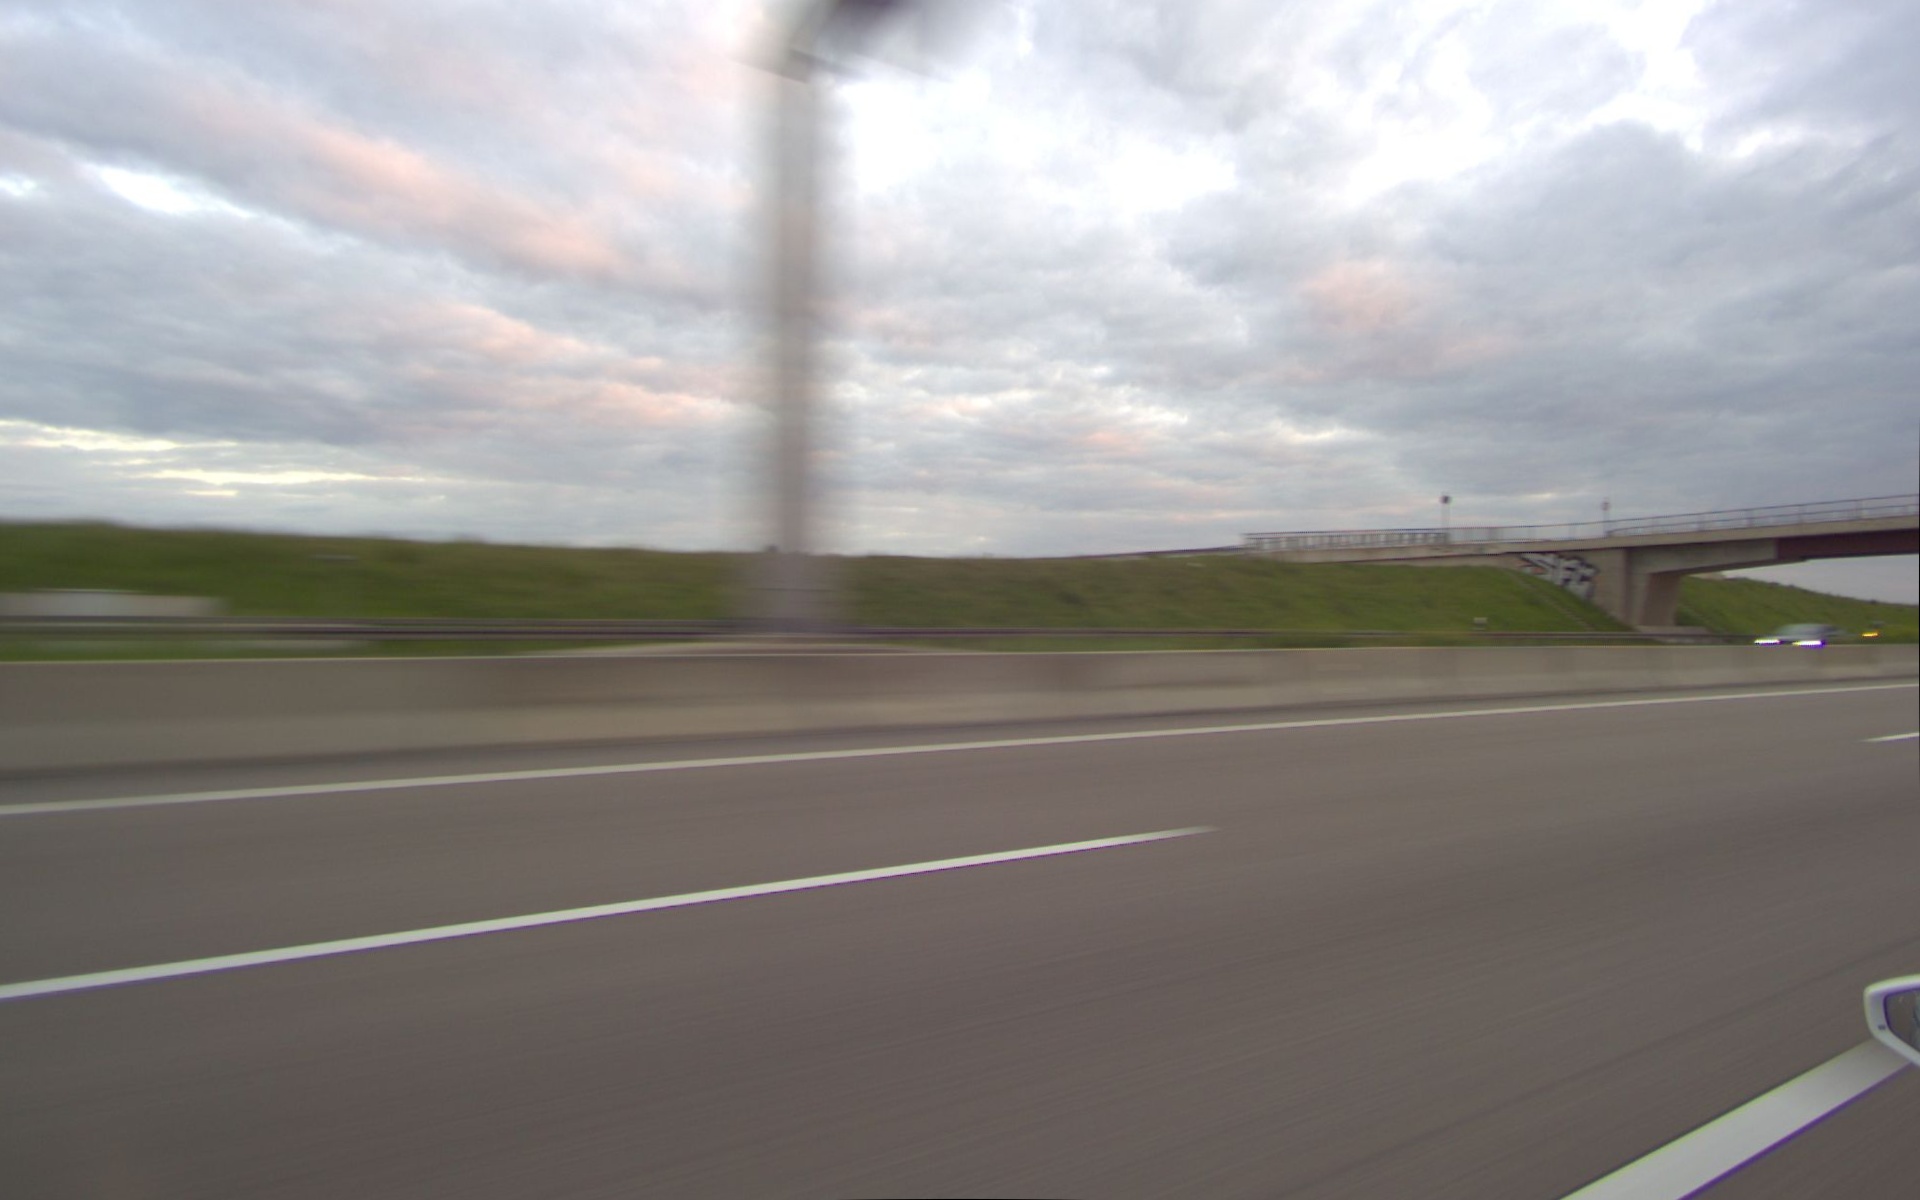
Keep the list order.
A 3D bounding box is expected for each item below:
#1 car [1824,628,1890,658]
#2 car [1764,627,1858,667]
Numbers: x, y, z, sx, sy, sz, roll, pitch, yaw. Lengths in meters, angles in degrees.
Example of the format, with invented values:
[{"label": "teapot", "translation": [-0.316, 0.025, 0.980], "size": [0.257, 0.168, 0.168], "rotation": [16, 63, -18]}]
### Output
[{"label": "car", "translation": [50.073, 2.376, 56.051], "size": [3.954, 1.578, 1.594], "rotation": [1, 0, -31]}, {"label": "car", "translation": [36.536, 2.012, 43.118], "size": [4.310, 1.573, 1.745], "rotation": [1, 0, -31]}]
